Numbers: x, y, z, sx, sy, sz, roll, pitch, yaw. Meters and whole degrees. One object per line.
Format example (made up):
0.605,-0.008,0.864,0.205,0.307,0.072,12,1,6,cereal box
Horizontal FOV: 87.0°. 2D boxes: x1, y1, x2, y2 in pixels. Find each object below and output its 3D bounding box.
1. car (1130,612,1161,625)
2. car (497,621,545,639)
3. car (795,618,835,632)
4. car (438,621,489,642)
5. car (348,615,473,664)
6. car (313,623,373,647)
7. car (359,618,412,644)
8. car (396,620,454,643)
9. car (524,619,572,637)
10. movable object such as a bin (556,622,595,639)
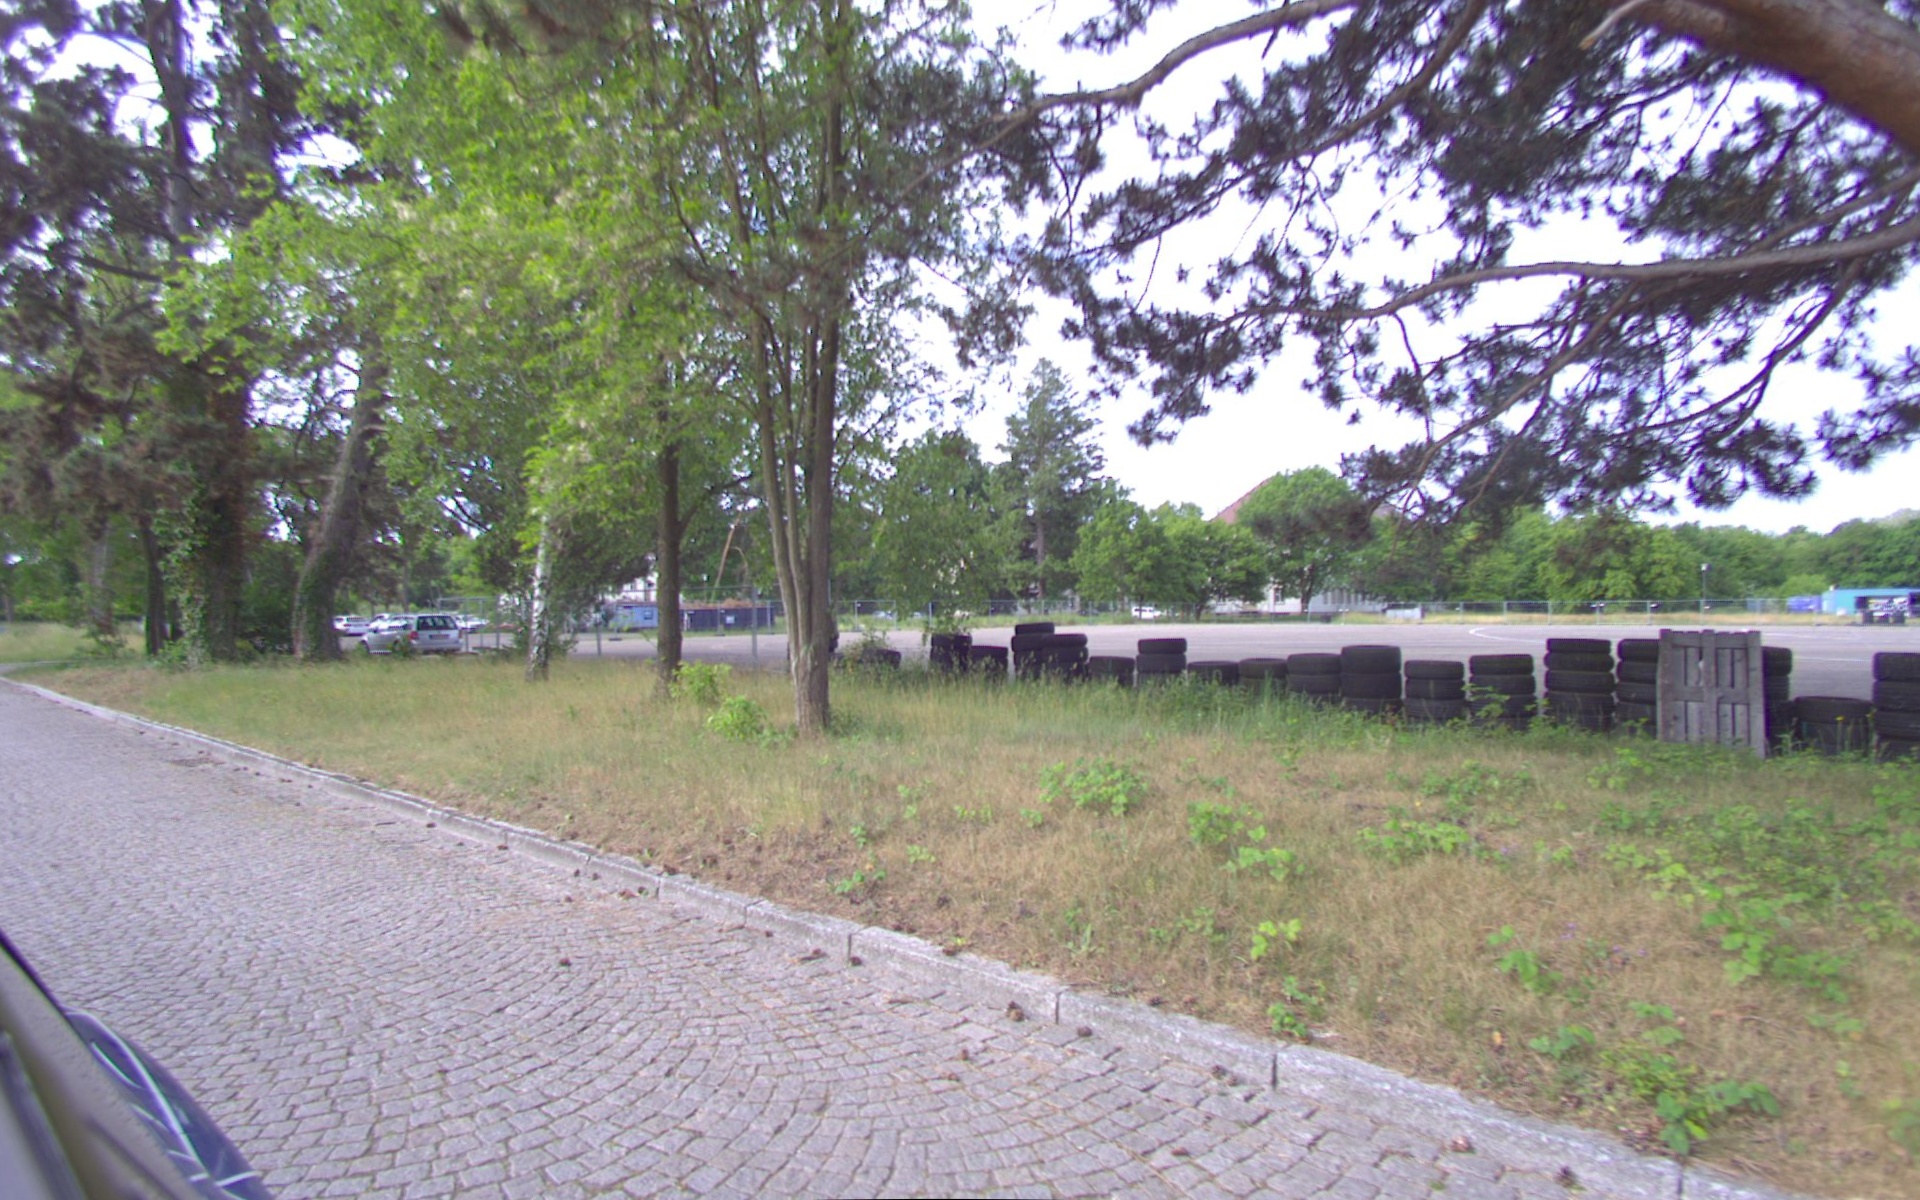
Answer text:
28.251,2.809,154.073,4.289,1.735,1.805,-2,1,42,car
-36.420,2.476,83.930,4.396,1.486,1.807,-2,-1,38,car
-15.650,2.716,108.986,4.399,1.486,1.806,-2,-1,41,car
-34.447,2.209,70.231,4.032,1.410,1.617,-2,-1,38,car
-17.096,1.230,31.397,4.416,1.427,1.807,-2,-4,39,car
-38.806,2.180,63.620,4.314,1.436,1.807,-2,-1,38,car
-37.246,1.987,65.545,3.893,1.531,1.654,-4,-3,38,car
-35.866,2.098,67.810,4.396,1.486,1.807,-2,-1,38,car
-35.049,2.402,86.079,4.396,1.486,1.807,-2,-1,38,car
-23.774,1.897,62.564,1.953,0.976,1.431,-1,-1,34,movable object such as a bin
